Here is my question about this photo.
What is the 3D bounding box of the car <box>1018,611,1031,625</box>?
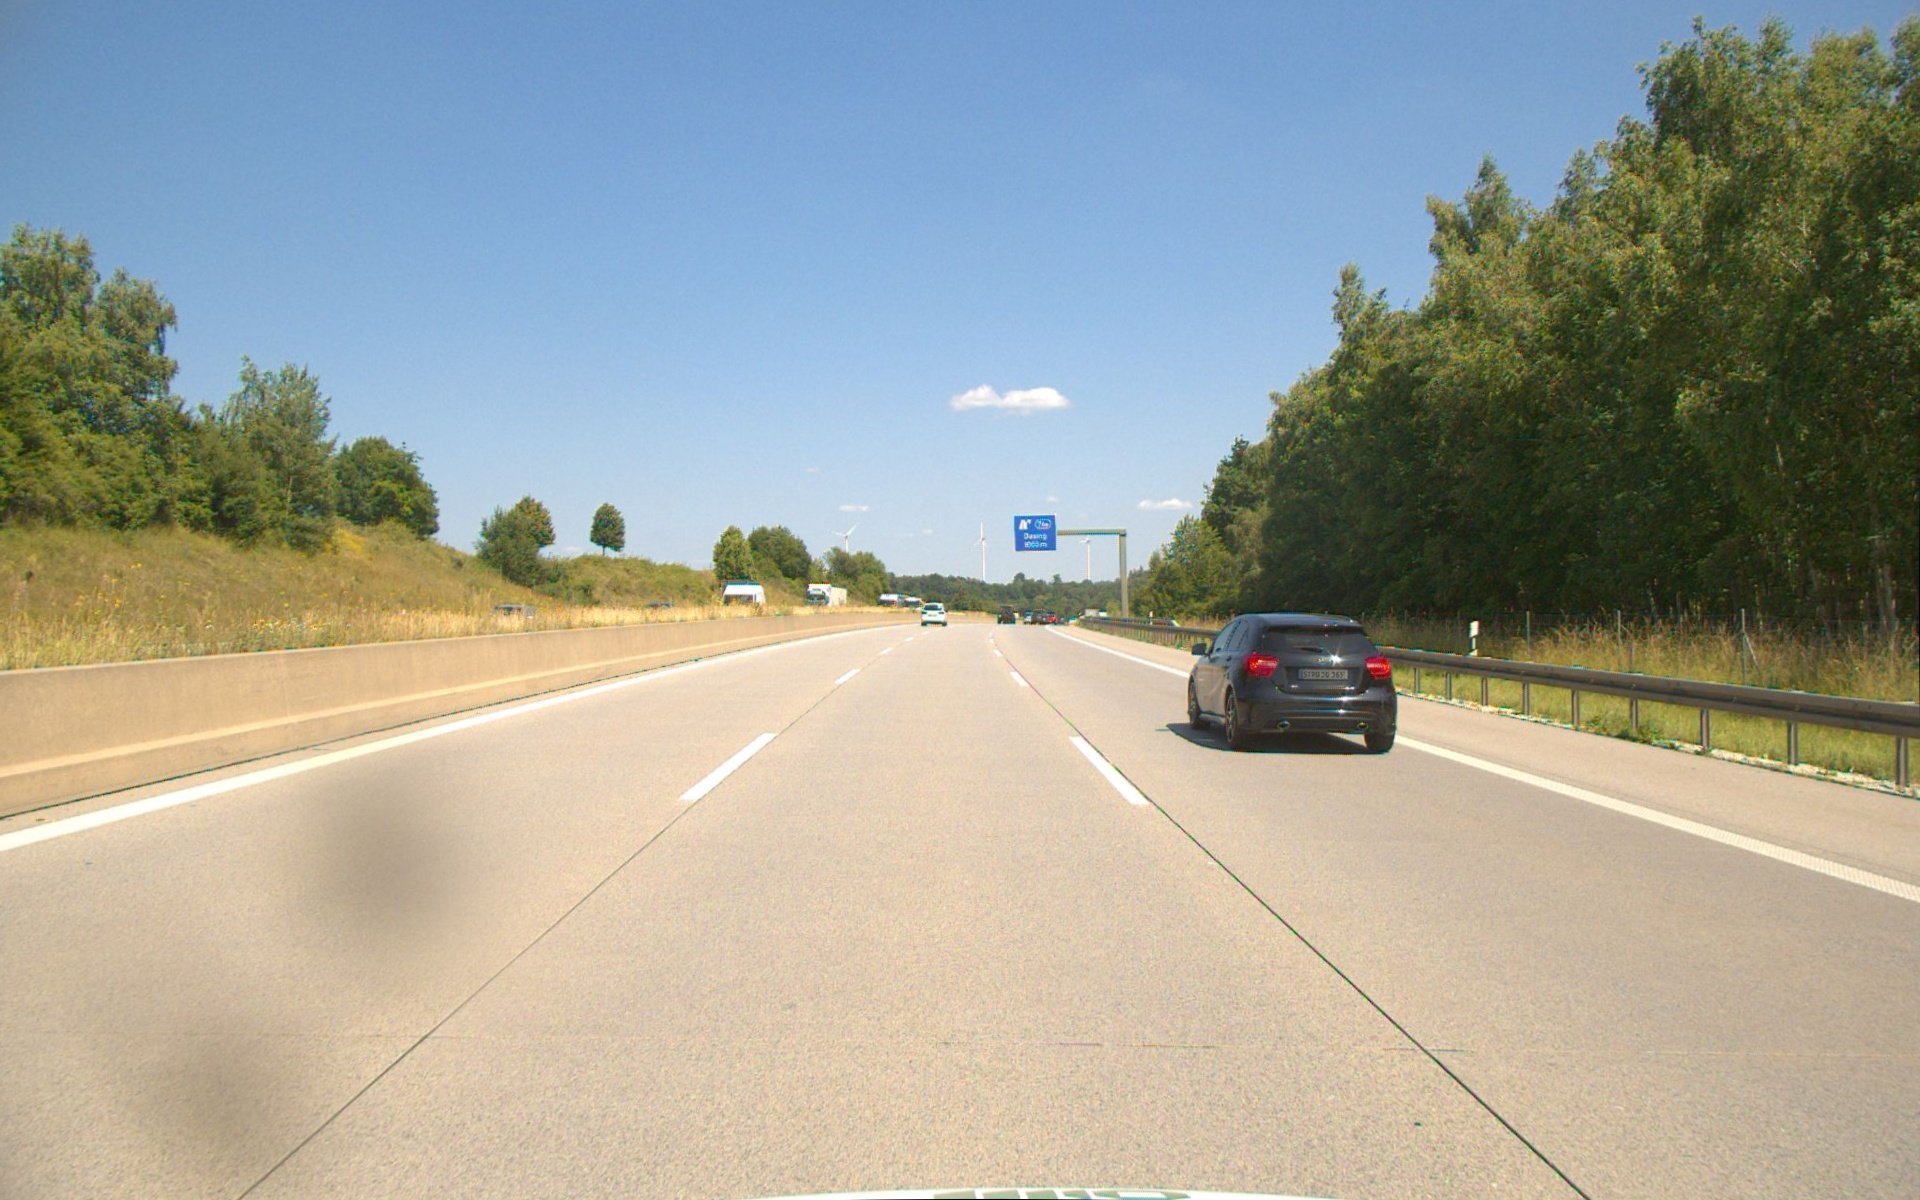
[{"bbox_3d":[9.962,2.792,255.342,1.709,2.024,3.999,0,0,-2],"label":"car"}]

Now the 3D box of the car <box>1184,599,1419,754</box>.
[{"bbox_3d":[3.735,0.772,18.814,1.871,1.518,4.192,1,0,1],"label":"car"}]

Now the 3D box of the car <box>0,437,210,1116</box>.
[{"bbox_3d":[-3.592,0.478,2.540,1.953,1.878,6.528,1,0,-1],"label":"car"}]

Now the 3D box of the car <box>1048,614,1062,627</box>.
[{"bbox_3d":[13.747,2.960,238.889,1.752,1.842,3.745,0,0,-2],"label":"car"}]

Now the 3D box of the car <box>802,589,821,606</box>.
[{"bbox_3d":[-16.552,-0.321,184.413,1.825,1.847,3.999,0,0,-1],"label":"car"}]

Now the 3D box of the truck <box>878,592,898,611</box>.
[{"bbox_3d":[-10.906,0.208,250.823,2.655,2.705,10.180,0,0,-1],"label":"truck"}]

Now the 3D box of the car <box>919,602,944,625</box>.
[{"bbox_3d":[-2.173,0.998,125.881,1.808,1.738,6.035,1,0,-1],"label":"car"}]

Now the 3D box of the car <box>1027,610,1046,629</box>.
[{"bbox_3d":[8.291,2.093,179.607,1.790,1.940,3.999,0,0,-2],"label":"car"}]

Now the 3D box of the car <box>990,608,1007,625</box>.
[{"bbox_3d":[4.444,1.920,191.700,1.790,1.971,3.809,0,0,0],"label":"car"}]

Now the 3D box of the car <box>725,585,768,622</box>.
[{"bbox_3d":[-12.095,0.205,93.785,1.953,2.049,3.999,1,0,-1],"label":"car"}]
